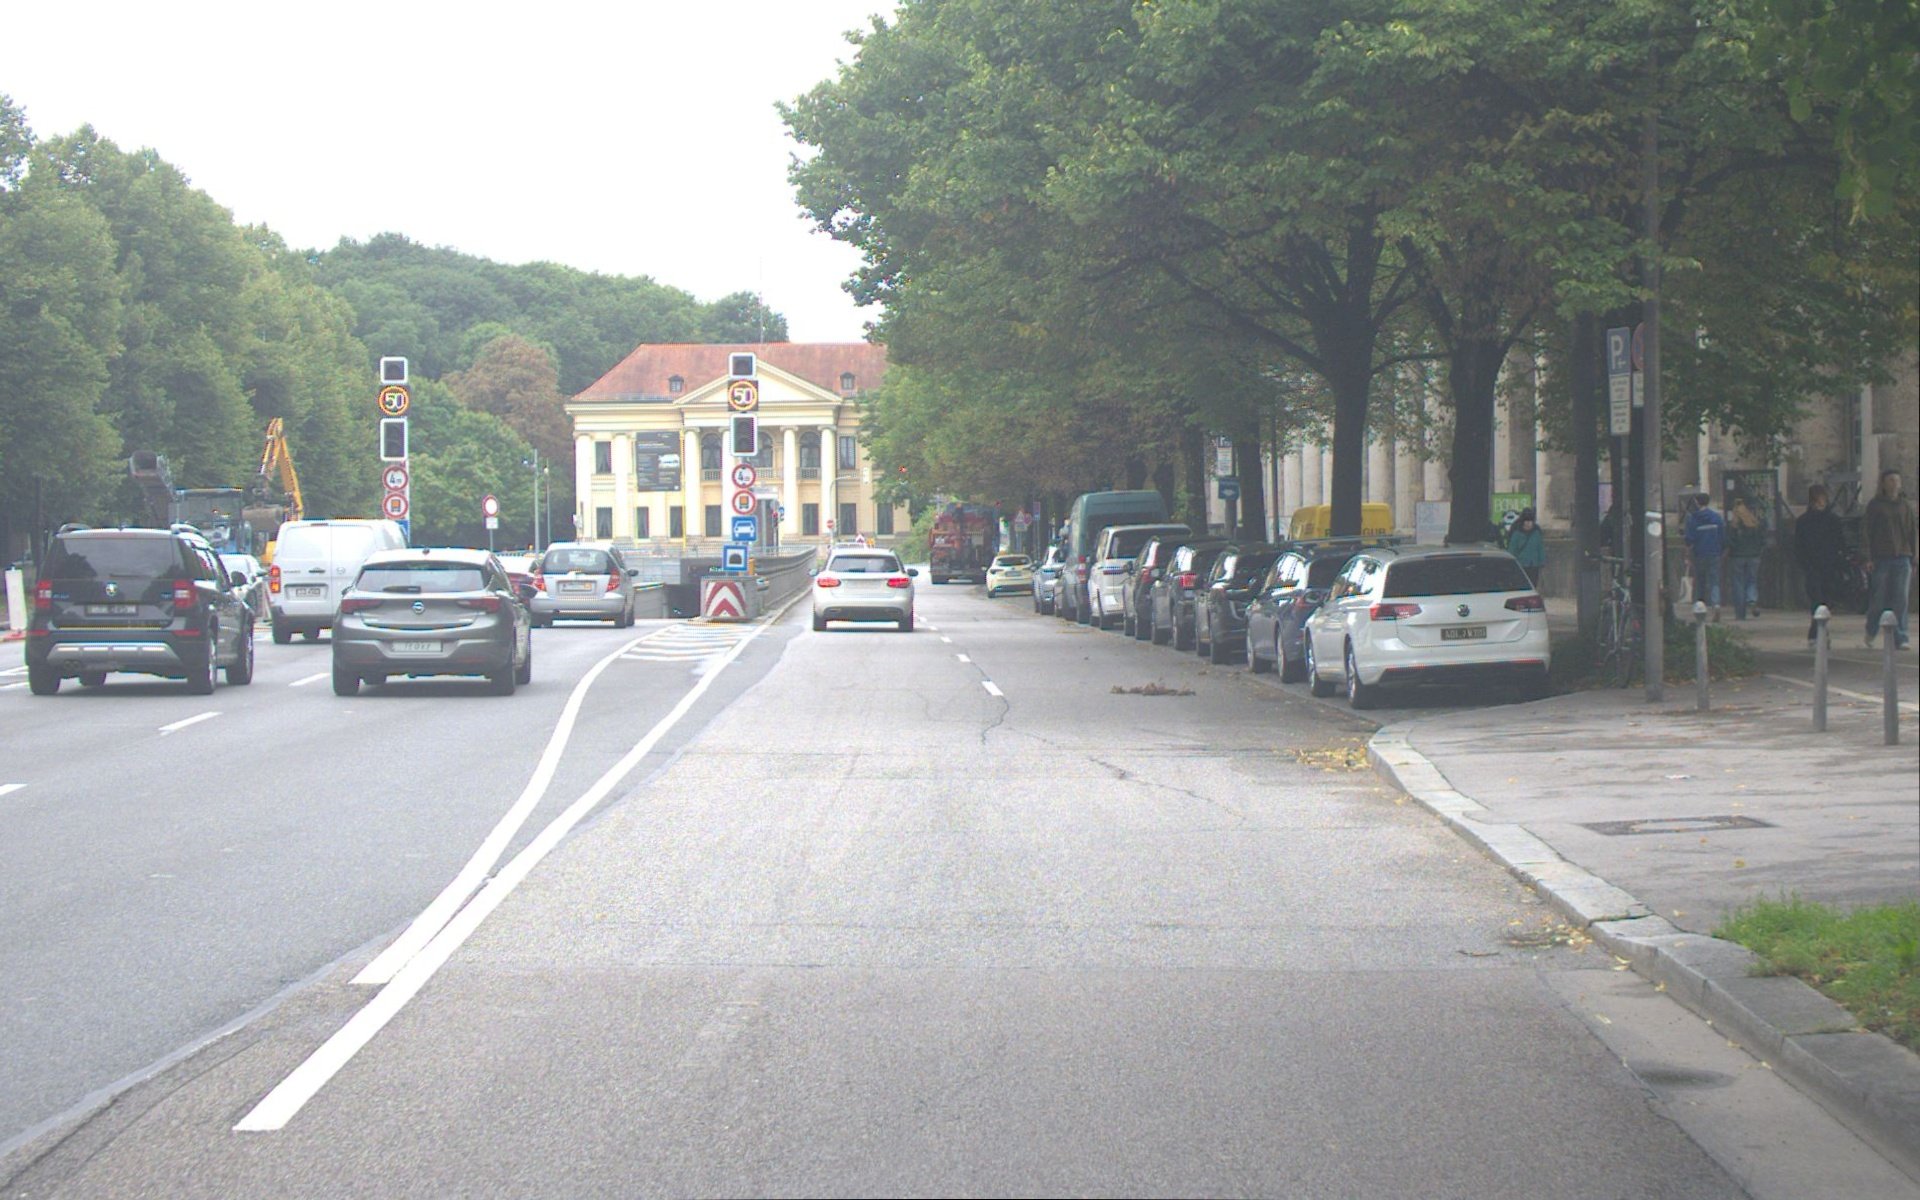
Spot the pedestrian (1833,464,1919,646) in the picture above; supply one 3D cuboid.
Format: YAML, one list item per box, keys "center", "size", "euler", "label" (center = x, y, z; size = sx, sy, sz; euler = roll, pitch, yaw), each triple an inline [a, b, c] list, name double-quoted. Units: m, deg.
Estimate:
- center: [9.782, -0.480, 36.573]
  size: [0.764, 1.903, 0.771]
  euler: [0, 1, -1]
  label: "pedestrian"

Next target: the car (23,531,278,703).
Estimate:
- center: [-8.198, 0.134, 35.155]
  size: [1.722, 1.631, 4.205]
  euler: [-1, 1, -2]
  label: "car"

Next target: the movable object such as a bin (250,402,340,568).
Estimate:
- center: [-26.520, -4.555, 137.252]
  size: [2.699, 6.488, 5.176]
  euler: [0, 1, -1]
  label: "movable object such as a bin"

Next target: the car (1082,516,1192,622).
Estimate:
- center: [3.253, -0.591, 63.764]
  size: [1.724, 1.861, 4.028]
  euler: [-1, 1, -1]
  label: "car"

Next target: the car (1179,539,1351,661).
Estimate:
- center: [3.912, -0.039, 44.771]
  size: [1.724, 1.459, 4.776]
  euler: [-1, 1, -1]
  label: "car"

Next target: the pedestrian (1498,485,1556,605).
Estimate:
- center: [9.069, -0.877, 55.012]
  size: [0.779, 1.903, 0.771]
  euler: [0, 1, -1]
  label: "pedestrian"

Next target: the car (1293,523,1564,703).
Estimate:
- center: [4.353, 0.071, 32.642]
  size: [1.827, 1.544, 4.752]
  euler: [-1, 1, -1]
  label: "car"

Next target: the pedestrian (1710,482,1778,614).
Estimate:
- center: [11.375, -0.756, 49.871]
  size: [0.779, 1.903, 0.771]
  euler: [0, 1, -1]
  label: "pedestrian"

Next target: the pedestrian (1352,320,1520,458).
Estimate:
- center: [7.501, -3.304, 54.545]
  size: [1.993, 2.007, 4.000]
  euler: [0, 1, -1]
  label: "pedestrian"

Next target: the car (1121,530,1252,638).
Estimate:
- center: [3.647, -0.289, 56.057]
  size: [1.724, 1.659, 4.590]
  euler: [-1, 1, -1]
  label: "car"

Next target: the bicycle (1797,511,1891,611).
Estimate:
- center: [12.790, -0.571, 49.793]
  size: [0.699, 1.410, 2.299]
  euler: [-1, 1, -1]
  label: "bicycle"

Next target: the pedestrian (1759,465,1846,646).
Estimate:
- center: [8.969, -0.473, 36.622]
  size: [0.699, 1.903, 0.771]
  euler: [0, 1, -1]
  label: "pedestrian"

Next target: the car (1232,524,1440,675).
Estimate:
- center: [4.140, -0.046, 38.488]
  size: [1.724, 1.544, 4.586]
  euler: [-1, 1, -1]
  label: "car"

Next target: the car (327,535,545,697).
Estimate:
- center: [-5.298, 0.122, 35.172]
  size: [1.710, 1.546, 4.000]
  euler: [0, 1, -2]
  label: "car"

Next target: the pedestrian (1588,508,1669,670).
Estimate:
- center: [7.951, -0.134, 40.920]
  size: [0.779, 1.903, 0.771]
  euler: [0, 1, -1]
  label: "pedestrian"

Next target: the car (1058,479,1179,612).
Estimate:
- center: [3.207, -1.132, 70.614]
  size: [1.993, 2.634, 4.878]
  euler: [0, 1, -3]
  label: "car"

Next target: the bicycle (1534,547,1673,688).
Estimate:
- center: [5.884, 0.132, 31.570]
  size: [0.628, 1.227, 2.619]
  euler: [0, 1, -3]
  label: "bicycle"

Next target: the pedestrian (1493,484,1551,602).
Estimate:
- center: [9.168, -0.937, 56.091]
  size: [0.779, 1.903, 0.771]
  euler: [0, 1, -1]
  label: "pedestrian"

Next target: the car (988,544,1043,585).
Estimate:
- center: [1.873, -1.229, 117.320]
  size: [1.724, 1.319, 4.028]
  euler: [-1, 1, -1]
  label: "car"

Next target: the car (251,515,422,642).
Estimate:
- center: [-9.601, -0.358, 53.303]
  size: [1.898, 1.841, 4.956]
  euler: [-1, 1, -2]
  label: "car"

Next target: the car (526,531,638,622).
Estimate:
- center: [-7.019, -0.464, 64.147]
  size: [1.779, 1.648, 4.001]
  euler: [0, 1, -2]
  label: "car"

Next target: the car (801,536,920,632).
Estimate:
- center: [-1.823, -0.312, 61.673]
  size: [1.779, 1.639, 4.001]
  euler: [0, 1, -7]
  label: "car"

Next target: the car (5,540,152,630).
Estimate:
- center: [-16.534, -0.315, 64.654]
  size: [1.993, 1.590, 4.001]
  euler: [-1, 1, -5]
  label: "car"

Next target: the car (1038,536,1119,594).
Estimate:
- center: [2.812, -0.853, 82.181]
  size: [1.724, 1.319, 4.028]
  euler: [-1, 1, -1]
  label: "car"

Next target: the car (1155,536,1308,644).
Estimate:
- center: [3.898, -0.179, 49.931]
  size: [1.822, 1.459, 4.028]
  euler: [-1, 1, -1]
  label: "car"

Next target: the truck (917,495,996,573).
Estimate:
- center: [-0.215, -2.969, 154.556]
  size: [3.325, 3.355, 8.663]
  euler: [0, 1, -1]
  label: "truck"
